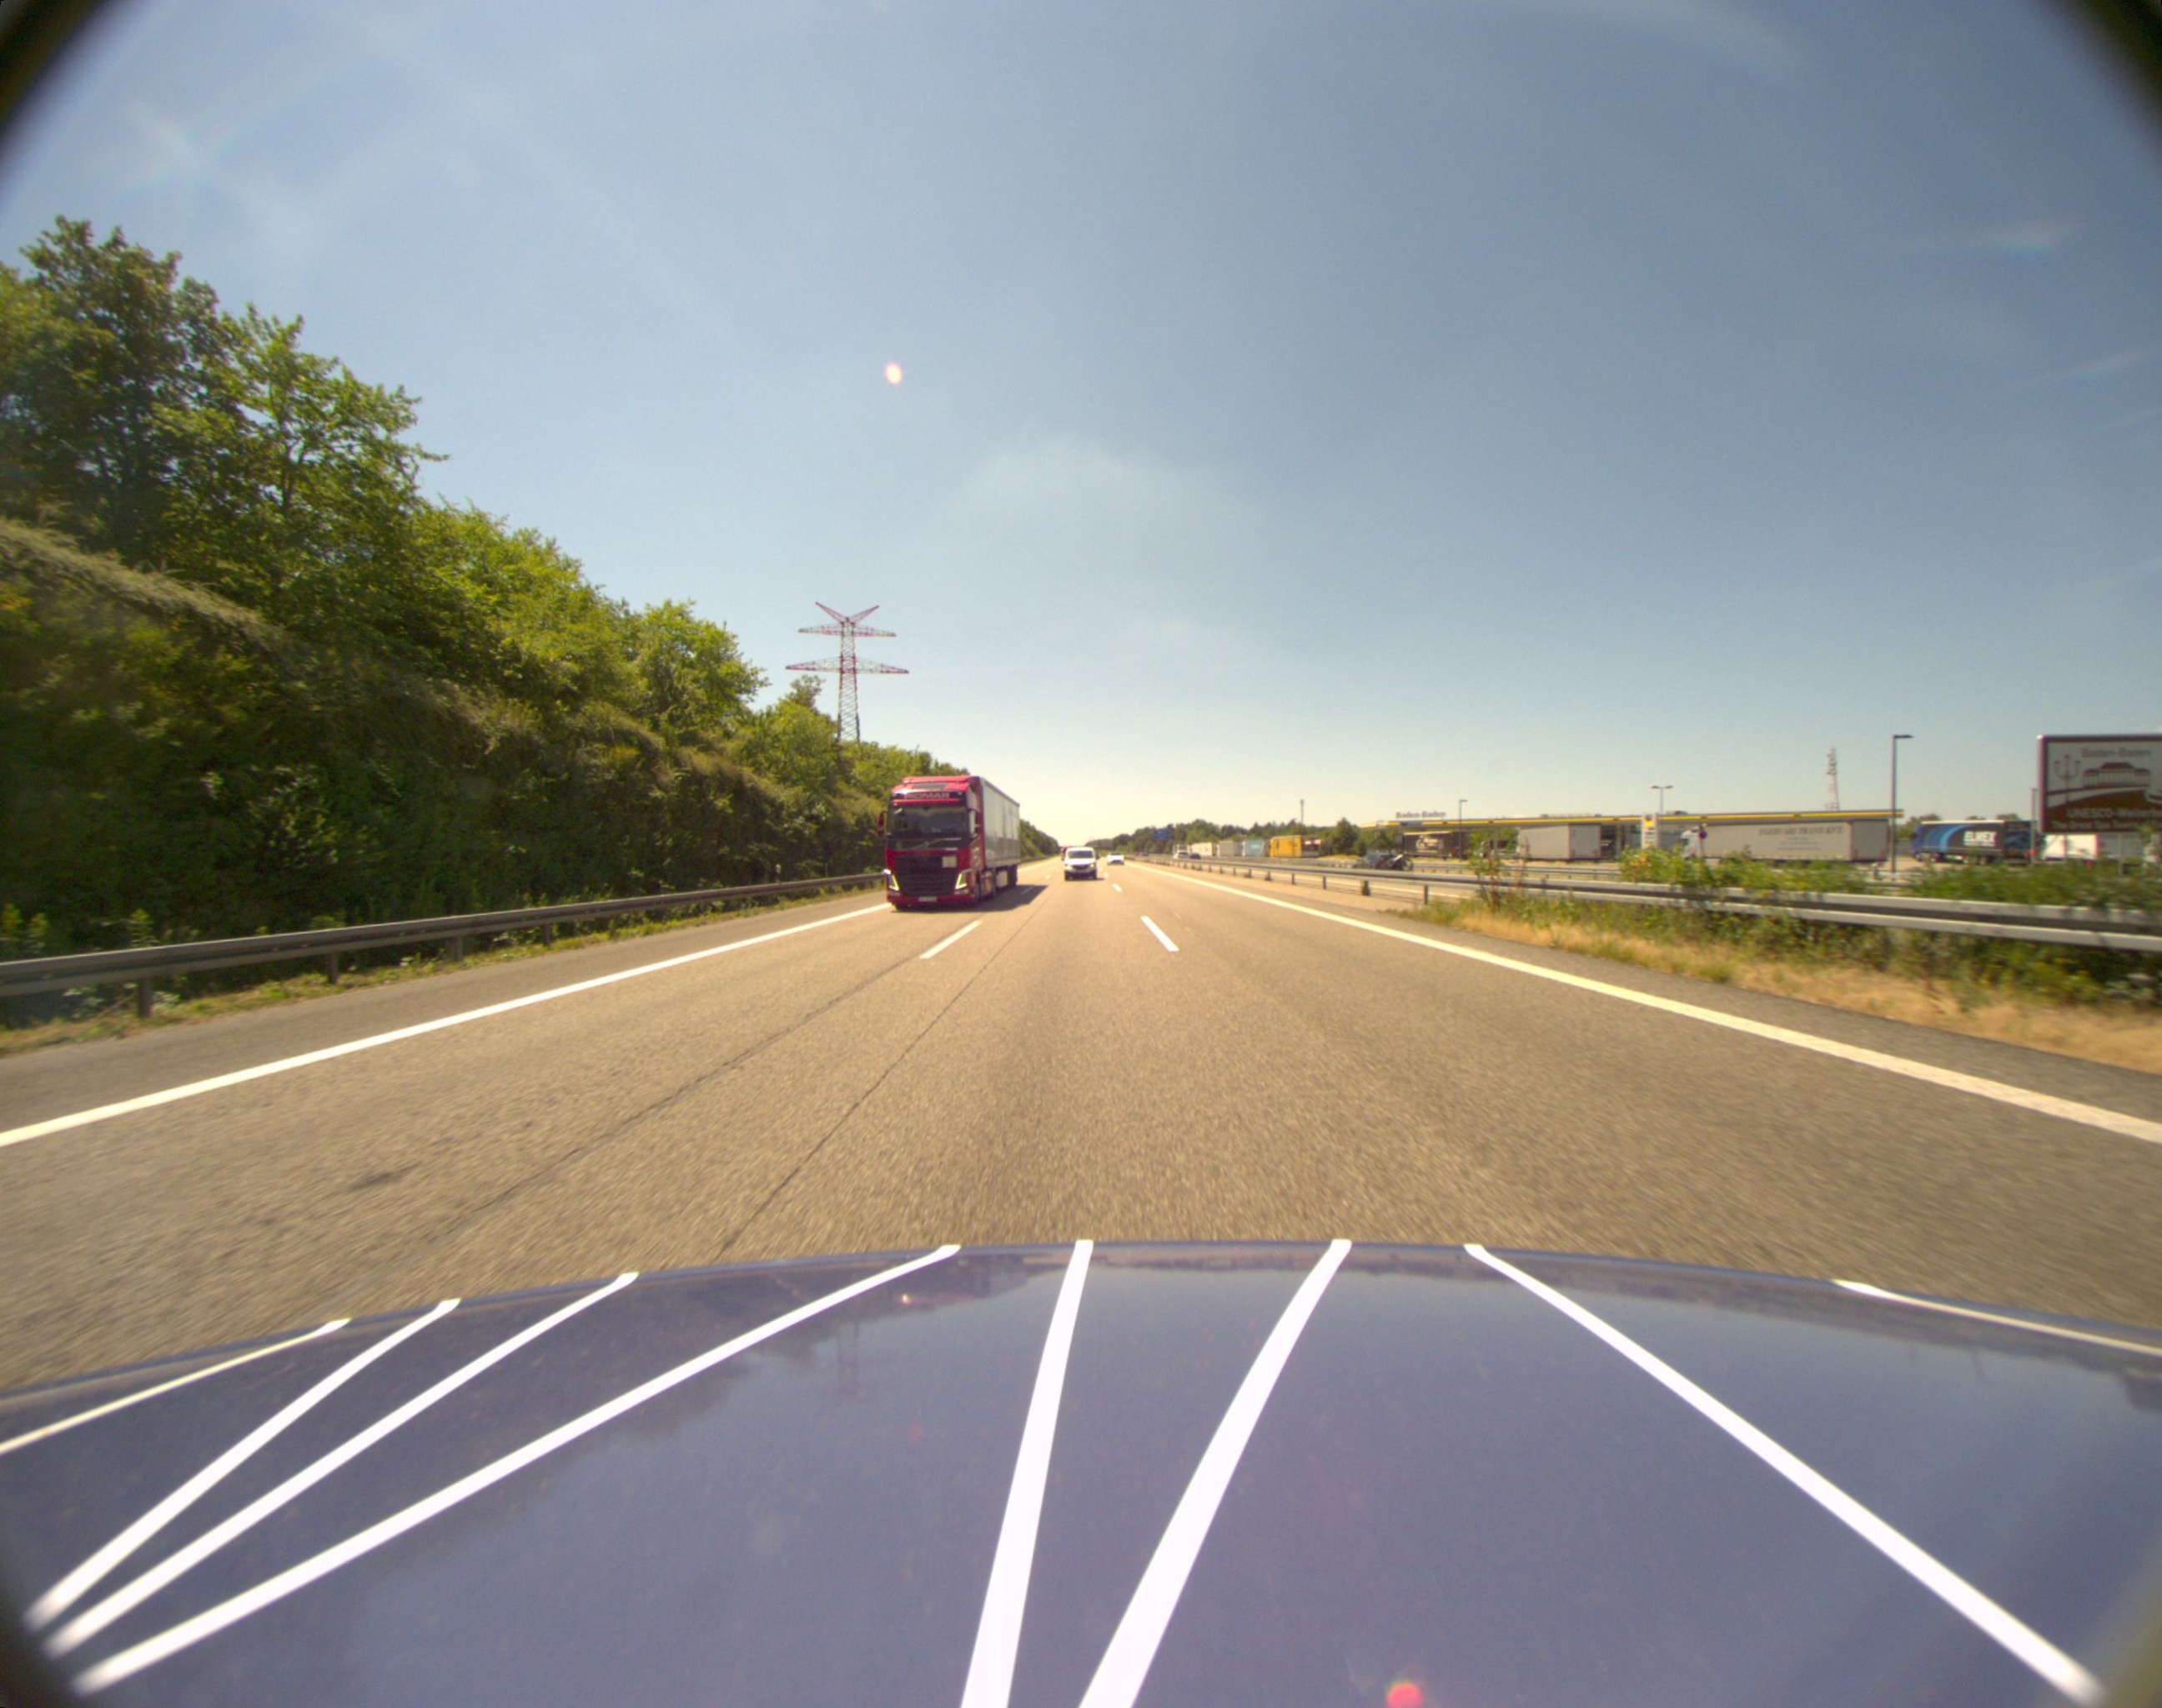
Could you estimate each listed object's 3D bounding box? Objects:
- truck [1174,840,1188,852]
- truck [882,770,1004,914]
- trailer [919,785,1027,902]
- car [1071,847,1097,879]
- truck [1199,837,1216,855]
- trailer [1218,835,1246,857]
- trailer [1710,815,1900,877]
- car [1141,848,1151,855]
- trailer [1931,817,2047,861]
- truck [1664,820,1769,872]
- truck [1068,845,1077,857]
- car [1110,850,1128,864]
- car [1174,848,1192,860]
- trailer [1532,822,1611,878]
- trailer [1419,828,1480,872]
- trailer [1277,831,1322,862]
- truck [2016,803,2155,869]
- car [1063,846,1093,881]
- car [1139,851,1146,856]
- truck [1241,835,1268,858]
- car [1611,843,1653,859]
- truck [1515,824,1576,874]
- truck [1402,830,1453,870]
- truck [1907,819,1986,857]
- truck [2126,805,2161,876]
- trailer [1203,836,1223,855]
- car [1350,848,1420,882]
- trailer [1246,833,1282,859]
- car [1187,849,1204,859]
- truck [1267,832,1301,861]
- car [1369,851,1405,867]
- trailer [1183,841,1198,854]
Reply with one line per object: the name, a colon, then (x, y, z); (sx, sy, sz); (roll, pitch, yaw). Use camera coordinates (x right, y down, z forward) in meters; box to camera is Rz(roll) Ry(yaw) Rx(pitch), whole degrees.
truck: (32.104, -2.568, 244.373); (2.806, 3.622, 13.604); (-3, 0, 0)
truck: (-4.161, -0.364, 24.517); (2.505, 3.897, 7.096); (-2, 1, 0)
trailer: (-4.162, -0.418, 32.851); (2.497, 3.887, 14.244); (-2, 1, 0)
car: (0.165, 0.524, 45.940); (1.413, 1.795, 3.200); (-3, 1, 0)
truck: (30.558, -1.936, 183.757); (2.588, 4.164, 7.935); (-2, 1, 0)
trailer: (30.570, -1.548, 154.708); (3.121, 4.134, 11.013); (-3, 1, -1)
trailer: (57.771, -0.651, 61.483); (3.309, 4.332, 12.921); (-3, 0, 2)
car: (15.292, -0.634, 179.406); (1.977, 1.637, 5.016); (-3, 0, 0)
trailer: (80.942, -1.369, 68.070); (2.995, 3.500, 11.082); (-2, 1, 30)
truck: (58.081, -0.729, 69.786); (3.309, 4.332, 7.625); (-3, 1, 2)
truck: (-2.689, -0.909, 237.465); (2.540, 3.656, 5.219); (-3, 1, 1)
car: (4.220, 0.329, 85.198); (1.775, 1.410, 3.401); (-3, 1, 1)
car: (13.226, -0.042, 99.150); (1.722, 1.521, 4.666); (1, 1, 0)
trailer: (45.945, -0.432, 71.551); (3.306, 4.846, 9.692); (-2, 1, 15)
trailer: (44.370, -0.499, 91.824); (3.040, 4.822, 9.134); (-3, 1, 2)
trailer: (31.087, -1.059, 108.641); (2.840, 4.195, 11.081); (-3, 1, -1)
truck: (73.872, -1.364, 56.218); (3.051, 4.332, 10.735); (-2, 1, 35)
car: (-0.162, 0.480, 42.259); (1.501, 1.799, 3.393); (-3, 1, 0)
car: (18.093, -0.182, 222.608); (1.746, 1.269, 4.317); (2, 1, 0)
truck: (31.110, -1.327, 136.442); (2.857, 4.049, 7.088); (-3, 1, -1)
car: (70.541, -0.421, 97.415); (1.817, 1.976, 4.782); (-3, 1, 0)
truck: (47.867, -0.563, 78.576); (3.306, 4.822, 7.633); (-2, 1, 15)
truck: (44.571, -0.556, 98.073); (3.033, 4.822, 7.878); (-3, 1, 2)
truck: (84.542, -1.578, 74.390); (2.975, 3.469, 7.083); (-2, 1, 30)
truck: (66.648, -0.901, 45.575); (3.166, 4.226, 6.658); (-2, 1, 41)
trailer: (30.616, -1.875, 176.985); (2.605, 4.194, 10.513); (-3, 1, 0)
car: (17.592, 0.585, 44.215); (1.958, 1.799, 5.046); (-3, 1, -1)
trailer: (31.182, -1.318, 129.938); (2.840, 4.124, 12.082); (-3, 0, -1)
car: (17.750, -0.017, 117.879); (1.873, 1.390, 4.545); (1, 1, 0)
truck: (31.034, -1.102, 116.403); (2.840, 4.176, 7.917); (-3, 1, 0)
car: (31.418, 0.530, 78.175); (1.817, 1.480, 4.508); (-3, 0, 0)
trailer: (36.717, -2.220, 255.211); (3.102, 4.132, 12.009); (-3, 0, 0)
